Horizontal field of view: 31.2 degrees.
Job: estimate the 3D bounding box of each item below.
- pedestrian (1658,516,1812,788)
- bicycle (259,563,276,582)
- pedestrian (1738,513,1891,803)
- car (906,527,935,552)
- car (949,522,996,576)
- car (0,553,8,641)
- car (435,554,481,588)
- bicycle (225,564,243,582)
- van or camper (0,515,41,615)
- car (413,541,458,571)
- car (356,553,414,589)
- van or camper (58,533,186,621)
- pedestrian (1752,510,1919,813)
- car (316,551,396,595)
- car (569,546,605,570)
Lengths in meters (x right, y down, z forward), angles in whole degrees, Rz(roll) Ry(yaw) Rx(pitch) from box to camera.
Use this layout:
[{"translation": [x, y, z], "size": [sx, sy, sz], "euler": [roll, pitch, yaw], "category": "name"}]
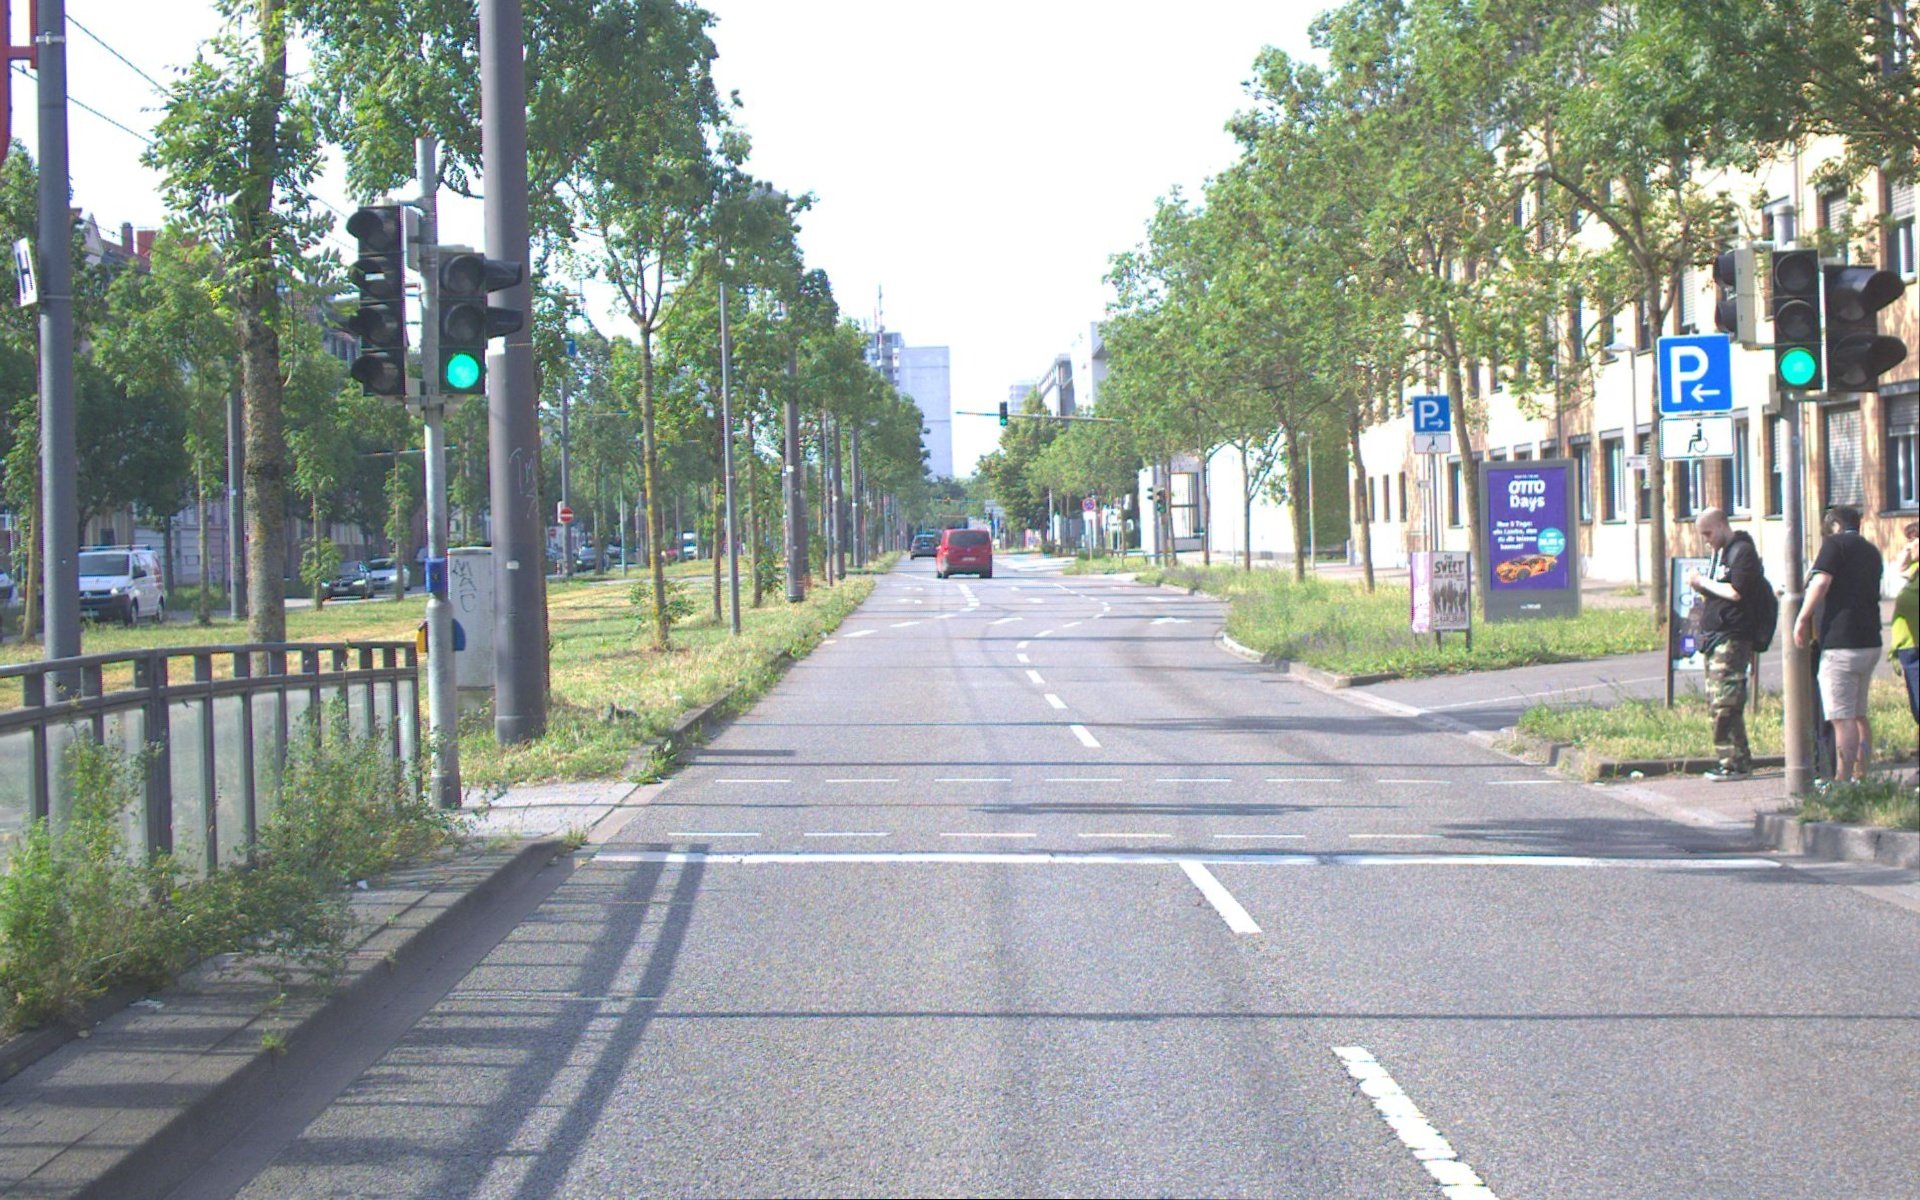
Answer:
[{"translation": [4.839, 0.315, 21.497], "size": [0.705, 1.641, 0.689], "euler": [-3, 1, -3], "category": "pedestrian"}, {"translation": [-32.257, -1.289, 160.184], "size": [0.447, 0.854, 1.948], "euler": [1, 1, -2], "category": "bicycle"}, {"translation": [5.001, 0.331, 20.151], "size": [0.634, 1.641, 0.609], "euler": [-3, 1, -4], "category": "pedestrian"}, {"translation": [-2.458, -3.784, 213.921], "size": [1.748, 1.500, 3.216], "euler": [1, 1, -1], "category": "car"}, {"translation": [0.481, -1.914, 129.841], "size": [1.748, 2.007, 3.216], "euler": [1, 1, 0], "category": "car"}, {"translation": [-17.597, -0.042, 58.010], "size": [1.834, 1.528, 4.577], "euler": [1, 1, -1], "category": "car"}, {"translation": [-25.029, -1.437, 171.648], "size": [1.764, 1.650, 4.000], "euler": [1, 1, -1], "category": "car"}, {"translation": [-32.422, -1.193, 153.542], "size": [0.437, 0.786, 1.948], "euler": [1, 1, -2], "category": "bicycle"}, {"translation": [-26.943, -0.937, 90.073], "size": [5.918, 2.564, 2.195], "euler": [1, 1, 34], "category": "van or camper"}, {"translation": [-29.490, -2.464, 193.336], "size": [1.993, 1.623, 4.776], "euler": [1, 1, -2], "category": "car"}, {"translation": [-24.422, -1.239, 146.180], "size": [1.947, 1.454, 4.649], "euler": [1, 1, -4], "category": "car"}, {"translation": [-20.738, -0.572, 85.288], "size": [1.951, 2.090, 5.353], "euler": [1, 1, -1], "category": "van or camper"}, {"translation": [4.939, 0.338, 19.355], "size": [0.705, 1.641, 0.689], "euler": [-3, 1, -3], "category": "pedestrian"}, {"translation": [-22.886, -1.033, 130.411], "size": [1.993, 1.624, 5.380], "euler": [1, 1, 1], "category": "car"}, {"translation": [-22.845, -2.546, 210.687], "size": [1.812, 1.428, 3.926], "euler": [1, 1, -1], "category": "car"}]
